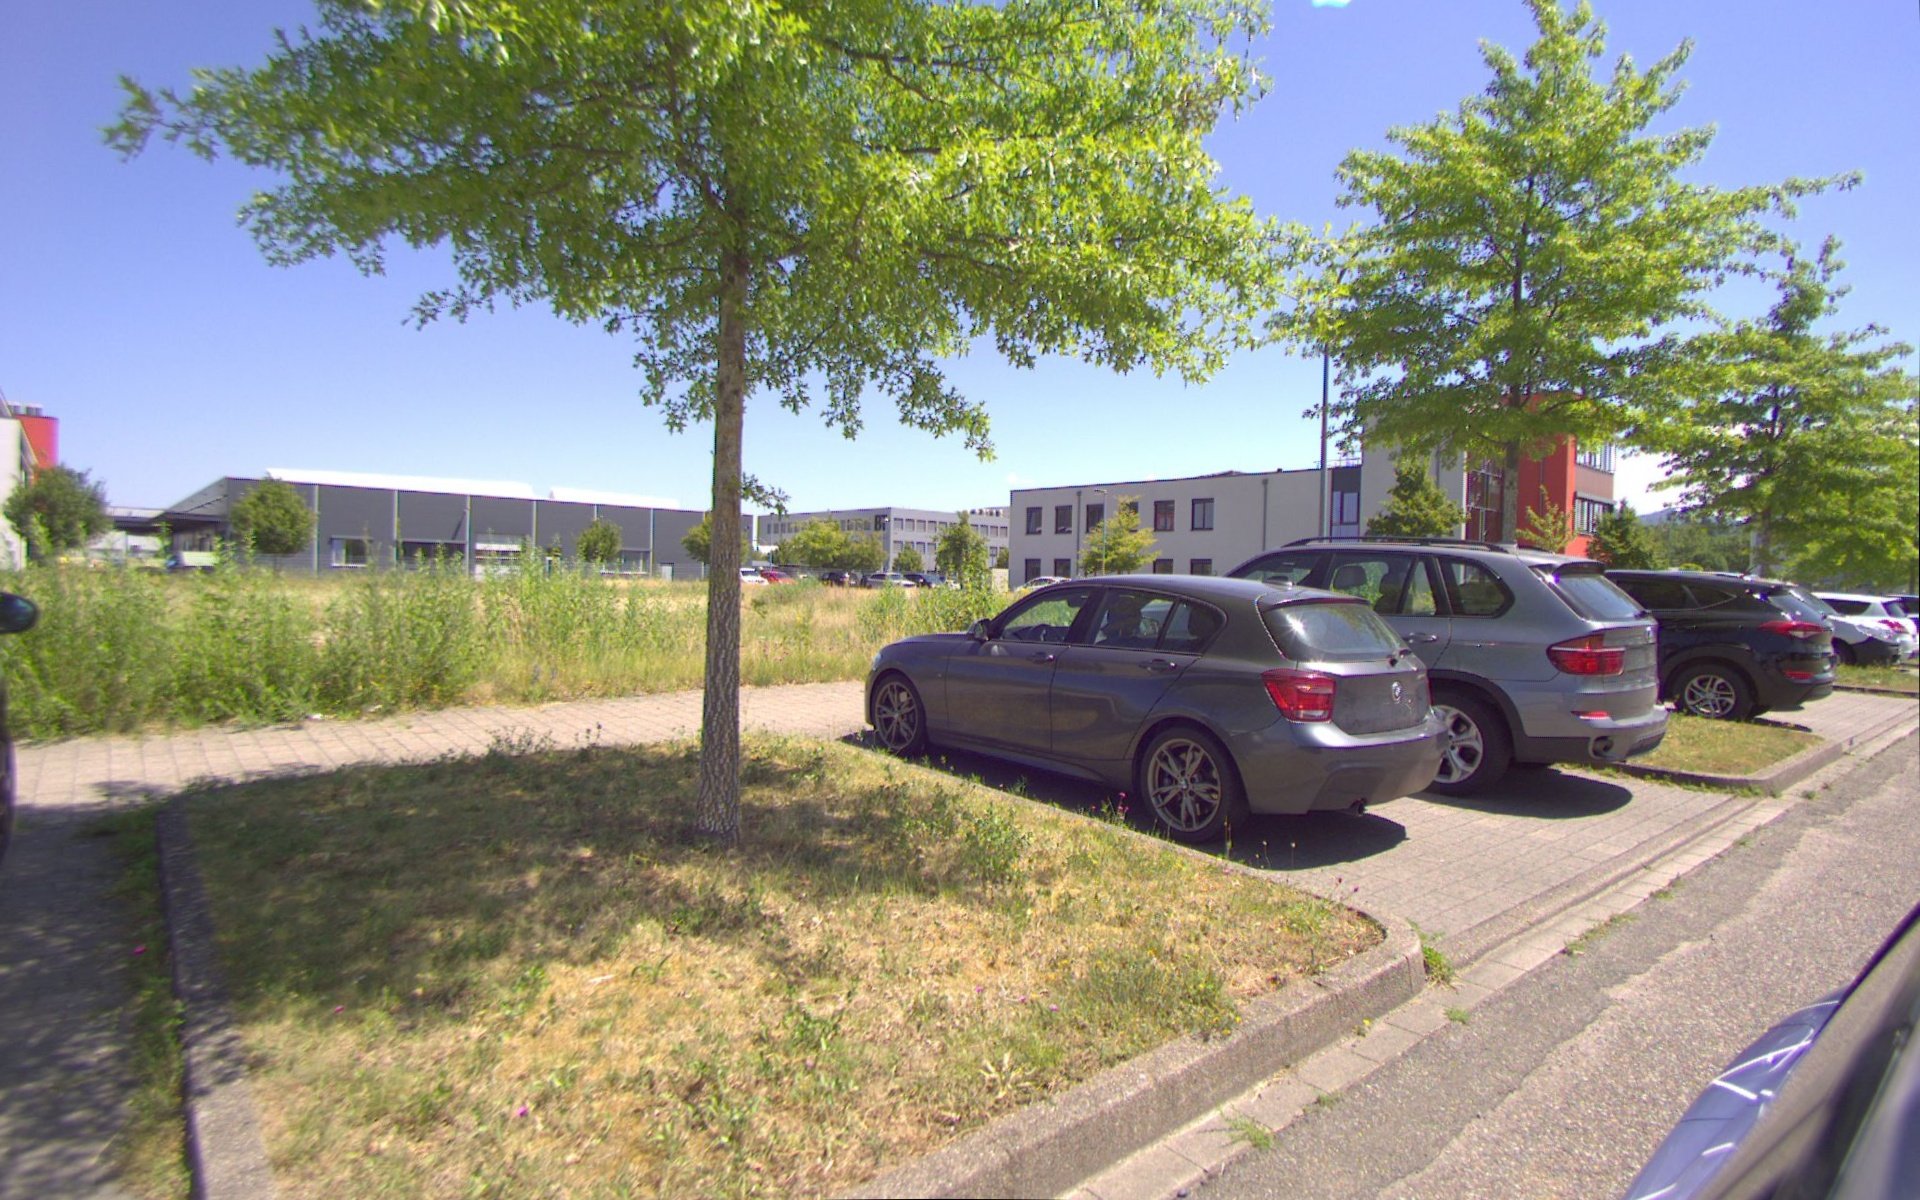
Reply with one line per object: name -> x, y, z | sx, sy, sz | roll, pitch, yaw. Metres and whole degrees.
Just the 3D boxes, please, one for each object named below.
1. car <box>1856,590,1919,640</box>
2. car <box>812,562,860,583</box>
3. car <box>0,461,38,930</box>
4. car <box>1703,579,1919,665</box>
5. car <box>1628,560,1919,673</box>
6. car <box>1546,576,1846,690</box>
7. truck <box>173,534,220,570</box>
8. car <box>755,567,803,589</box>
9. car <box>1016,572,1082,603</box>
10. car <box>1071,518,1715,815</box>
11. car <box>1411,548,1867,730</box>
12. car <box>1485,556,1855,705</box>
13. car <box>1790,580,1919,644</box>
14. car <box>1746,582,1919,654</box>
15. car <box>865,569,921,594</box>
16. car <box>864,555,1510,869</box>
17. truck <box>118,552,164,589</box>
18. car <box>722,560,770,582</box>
car -> 32.188, 0.565, 33.204 | 1.745, 1.572, 3.848 | 2, 1, -35
car -> -9.607, -2.131, 78.221 | 1.689, 1.528, 3.996 | 1, 2, -40
car -> -3.784, 0.362, 2.583 | 1.867, 1.627, 4.079 | -1, 3, -39
car -> 18.223, 0.408, 21.465 | 1.646, 1.521, 3.641 | 0, 3, -39
car -> 16.096, 0.231, 20.016 | 1.763, 1.852, 4.415 | 0, 3, -39
car -> 11.422, 0.425, 15.866 | 1.724, 1.434, 3.465 | 0, 3, -40
truck -> -46.260, -2.885, 61.297 | 1.965, 2.038, 3.995 | 1, 2, -41
car -> -13.340, -1.632, 74.535 | 1.689, 1.528, 3.996 | 1, 2, -40
car -> 4.739, -0.689, 54.179 | 1.689, 1.528, 3.330 | 1, 2, -40
car -> 3.274, 0.278, 8.397 | 1.959, 1.790, 4.457 | 1, 3, -42
car -> 7.915, 0.305, 12.135 | 1.751, 1.717, 4.182 | 0, 3, -41
car -> 9.800, 0.307, 14.222 | 1.750, 1.698, 3.885 | 1, 3, -40
car -> 26.760, 0.362, 29.202 | 1.663, 1.645, 4.057 | 1, 3, -40
car -> 23.066, 0.449, 25.620 | 1.882, 1.580, 4.722 | 0, 3, -44
car -> -4.569, -1.250, 68.534 | 1.689, 1.528, 3.994 | 1, 2, -41
car -> 1.246, 0.443, 6.853 | 1.876, 1.426, 3.931 | -1, 3, -40
truck -> -47.904, -1.733, 59.171 | 1.965, 2.038, 4.351 | 1, 2, -41
car -> -15.553, -2.104, 73.388 | 1.689, 1.470, 3.996 | 1, 2, -40
